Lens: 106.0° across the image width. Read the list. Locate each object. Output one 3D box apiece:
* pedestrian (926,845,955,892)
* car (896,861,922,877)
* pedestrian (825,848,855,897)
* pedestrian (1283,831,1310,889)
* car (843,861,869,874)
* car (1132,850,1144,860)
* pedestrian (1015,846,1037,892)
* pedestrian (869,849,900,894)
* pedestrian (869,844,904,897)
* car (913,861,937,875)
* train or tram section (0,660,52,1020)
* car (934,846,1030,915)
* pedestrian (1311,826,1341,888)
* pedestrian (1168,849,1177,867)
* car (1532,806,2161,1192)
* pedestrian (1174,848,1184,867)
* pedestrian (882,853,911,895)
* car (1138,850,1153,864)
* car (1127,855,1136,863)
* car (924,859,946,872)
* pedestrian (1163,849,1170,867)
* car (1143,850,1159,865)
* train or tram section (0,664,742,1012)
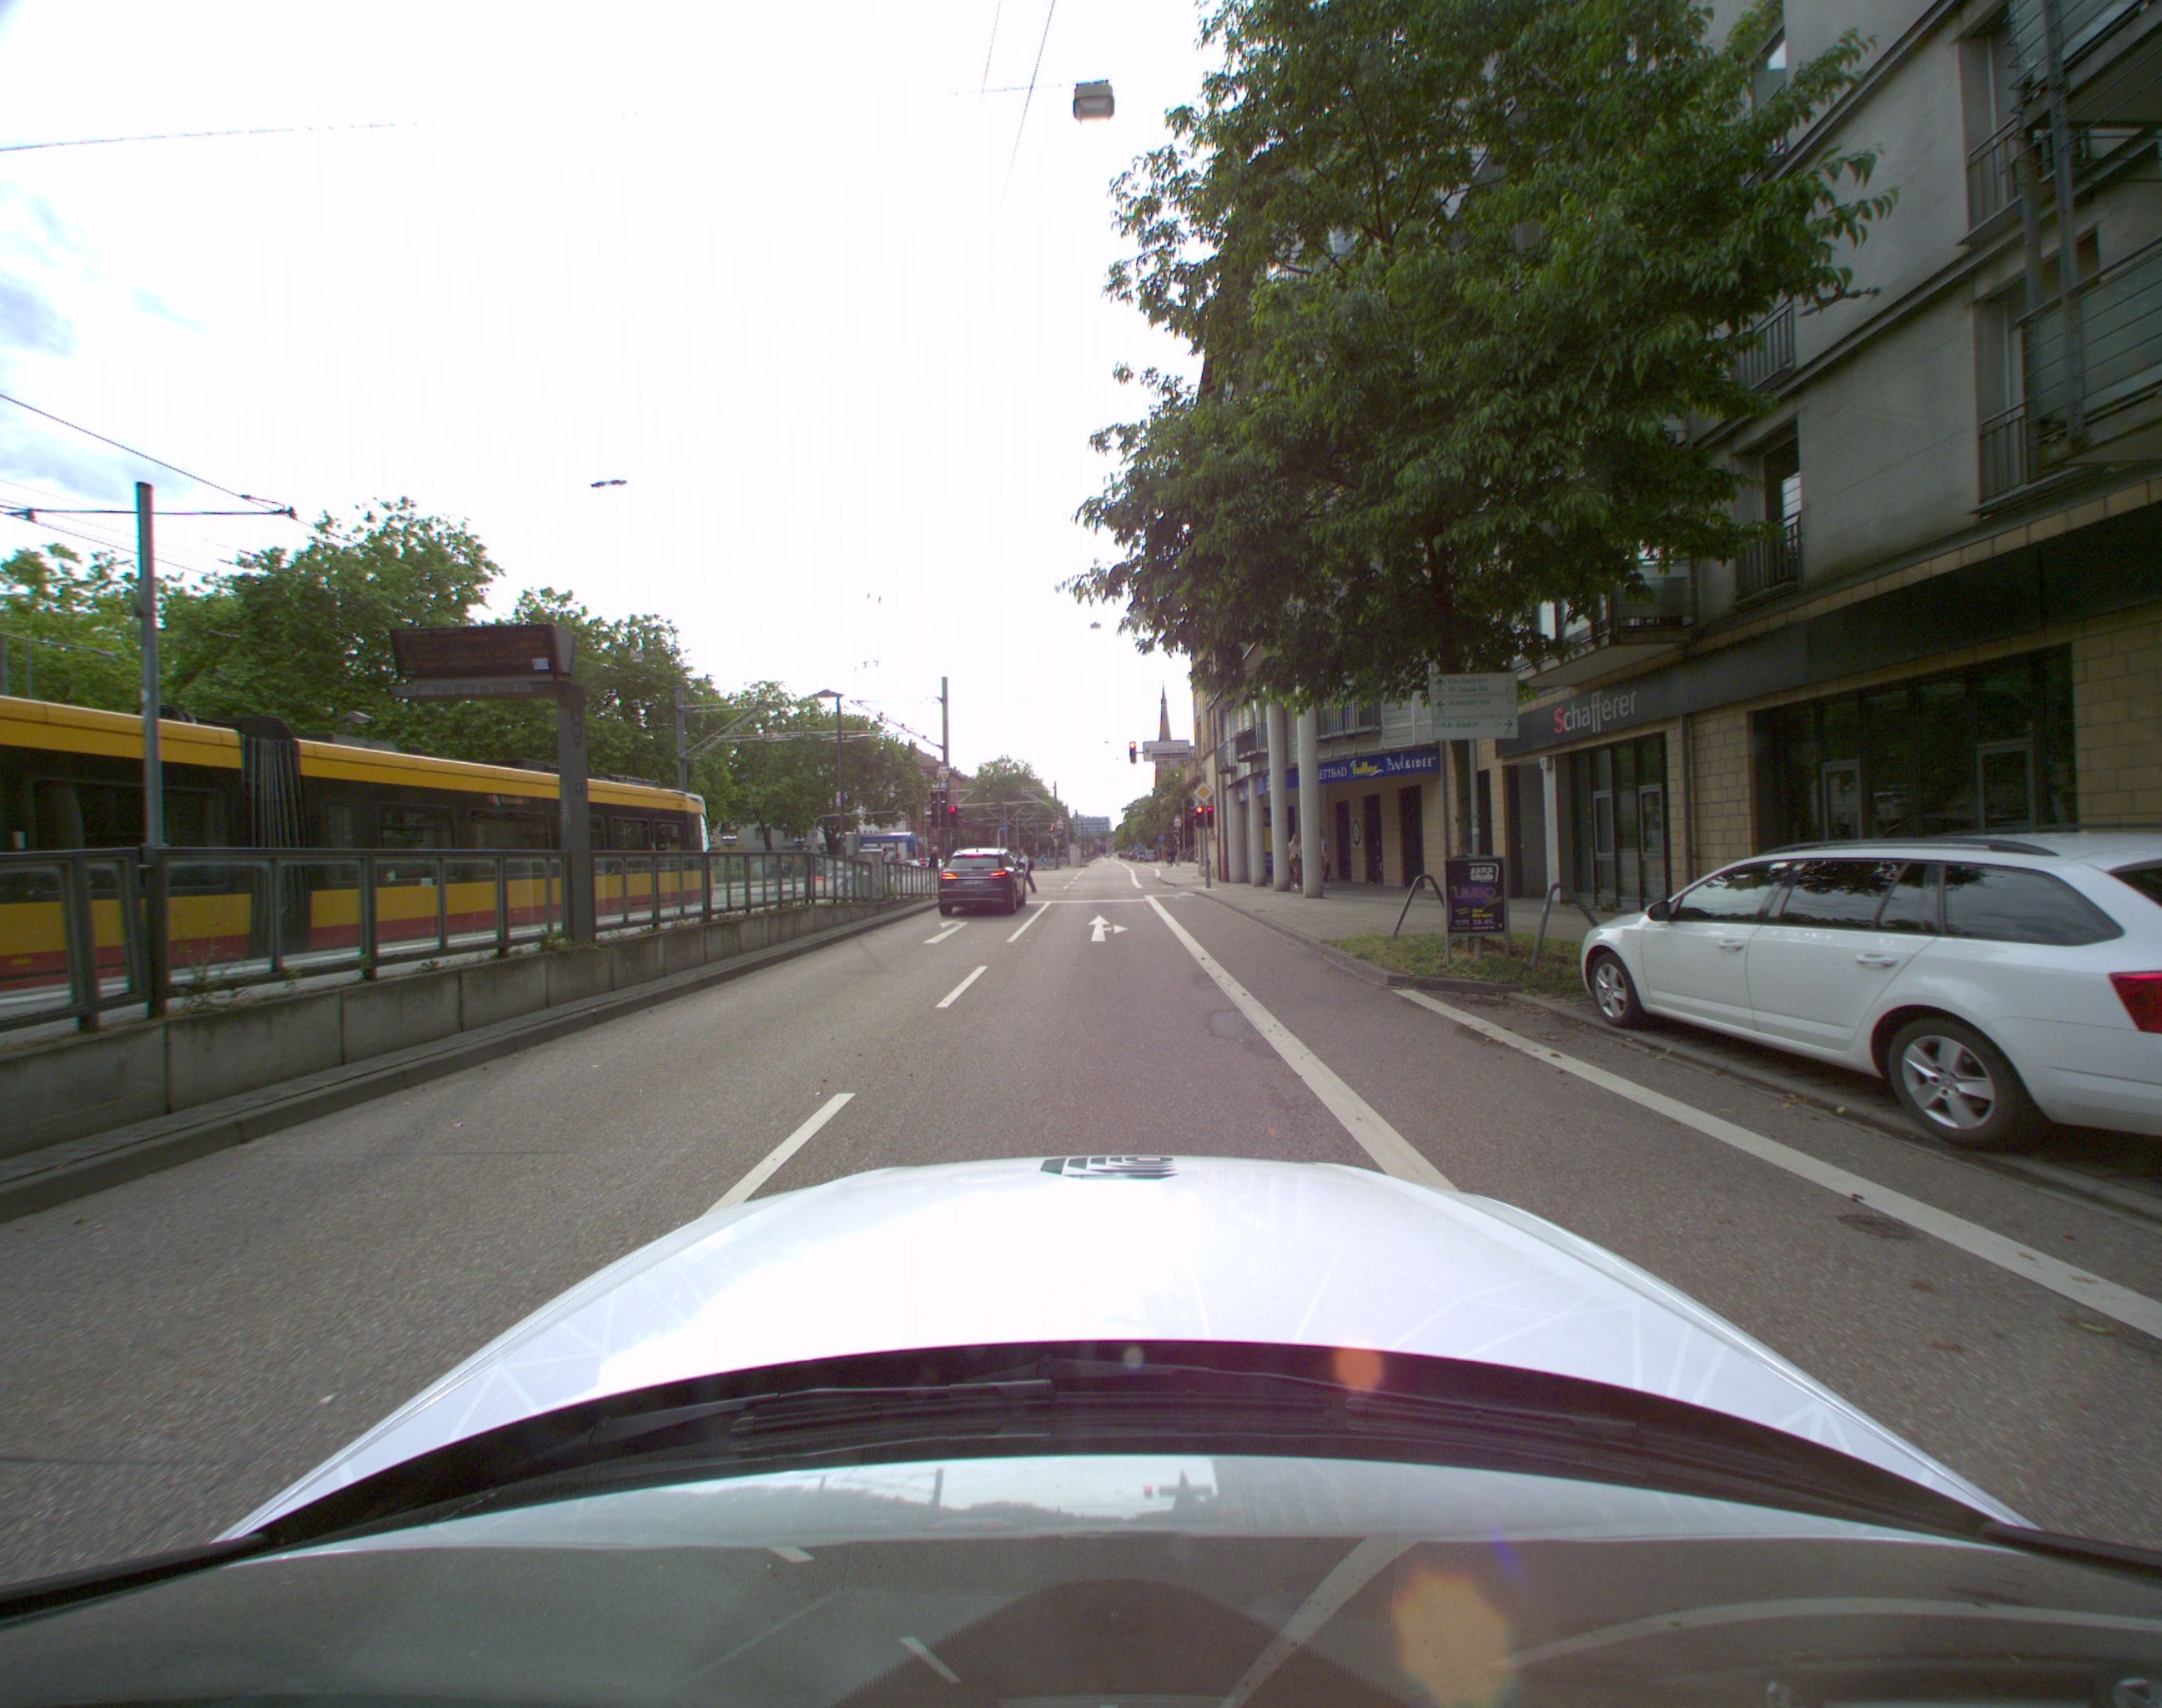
[{"bbox_3d":[-5.420,0.541,31.477,0.906,1.784,0.651,-1,-1,39],"label":"pedestrian"},{"bbox_3d":[-18.232,1.557,86.475,1.887,1.557,3.838,-1,0,2],"label":"car"},{"bbox_3d":[-9.038,0.672,30.550,1.015,1.813,0.580,0,-1,-22],"label":"pedestrian"},{"bbox_3d":[6.806,0.188,25.785,0.613,1.805,0.738,-3,0,3],"label":"pedestrian"},{"bbox_3d":[-28.061,1.623,101.668,1.986,1.530,4.001,-1,0,2],"label":"car"},{"bbox_3d":[10.390,0.227,148.782,1.986,1.607,4.165,-3,0,1],"label":"car"},{"bbox_3d":[-1.993,0.544,29.563,0.725,1.661,0.756,-1,0,1],"label":"pedestrian"},{"bbox_3d":[-7.368,0.648,30.567,0.999,1.652,0.623,0,-1,-26],"label":"pedestrian"},{"bbox_3d":[-6.794,0.574,28.411,1.132,1.778,0.625,-1,-1,-16],"label":"pedestrian"},{"bbox_3d":[-17.902,1.573,93.316,1.887,1.557,3.838,-1,0,2],"label":"car"},{"bbox_3d":[-12.350,-0.144,0.755,3.048,3.532,15.300,-1,0,2],"label":"train or tram section"},{"bbox_3d":[-2.473,0.629,21.411,1.873,1.601,4.358,-1,0,1],"label":"car"},{"bbox_3d":[7.730,0.093,25.689,0.672,1.890,0.738,-3,0,3],"label":"pedestrian"},{"bbox_3d":[8.146,0.358,72.531,0.651,1.537,0.465,-1,0,-3],"label":"pedestrian"},{"bbox_3d":[5.036,0.559,5.468,1.669,1.499,4.393,-5,0,3],"label":"car"},{"bbox_3d":[8.517,0.302,70.888,0.848,1.654,0.508,-1,0,-1],"label":"pedestrian"},{"bbox_3d":[-7.195,0.780,31.744,0.693,1.593,0.836,-1,-1,39],"label":"pedestrian"},{"bbox_3d":[9.506,0.501,119.967,1.986,2.013,4.001,-1,0,1],"label":"car"},{"bbox_3d":[11.953,1.193,192.261,1.986,2.013,4.001,-1,0,2],"label":"car"},{"bbox_3d":[-17.862,1.425,100.092,1.887,1.557,3.838,-1,0,2],"label":"car"},{"bbox_3d":[7.678,0.354,73.026,0.544,1.537,0.465,-1,0,-3],"label":"pedestrian"},{"bbox_3d":[9.492,0.473,110.527,1.986,2.013,4.001,-1,0,1],"label":"car"},{"bbox_3d":[-11.861,-0.133,16.331,3.048,3.588,15.855,-1,0,2],"label":"train or tram section"}]
